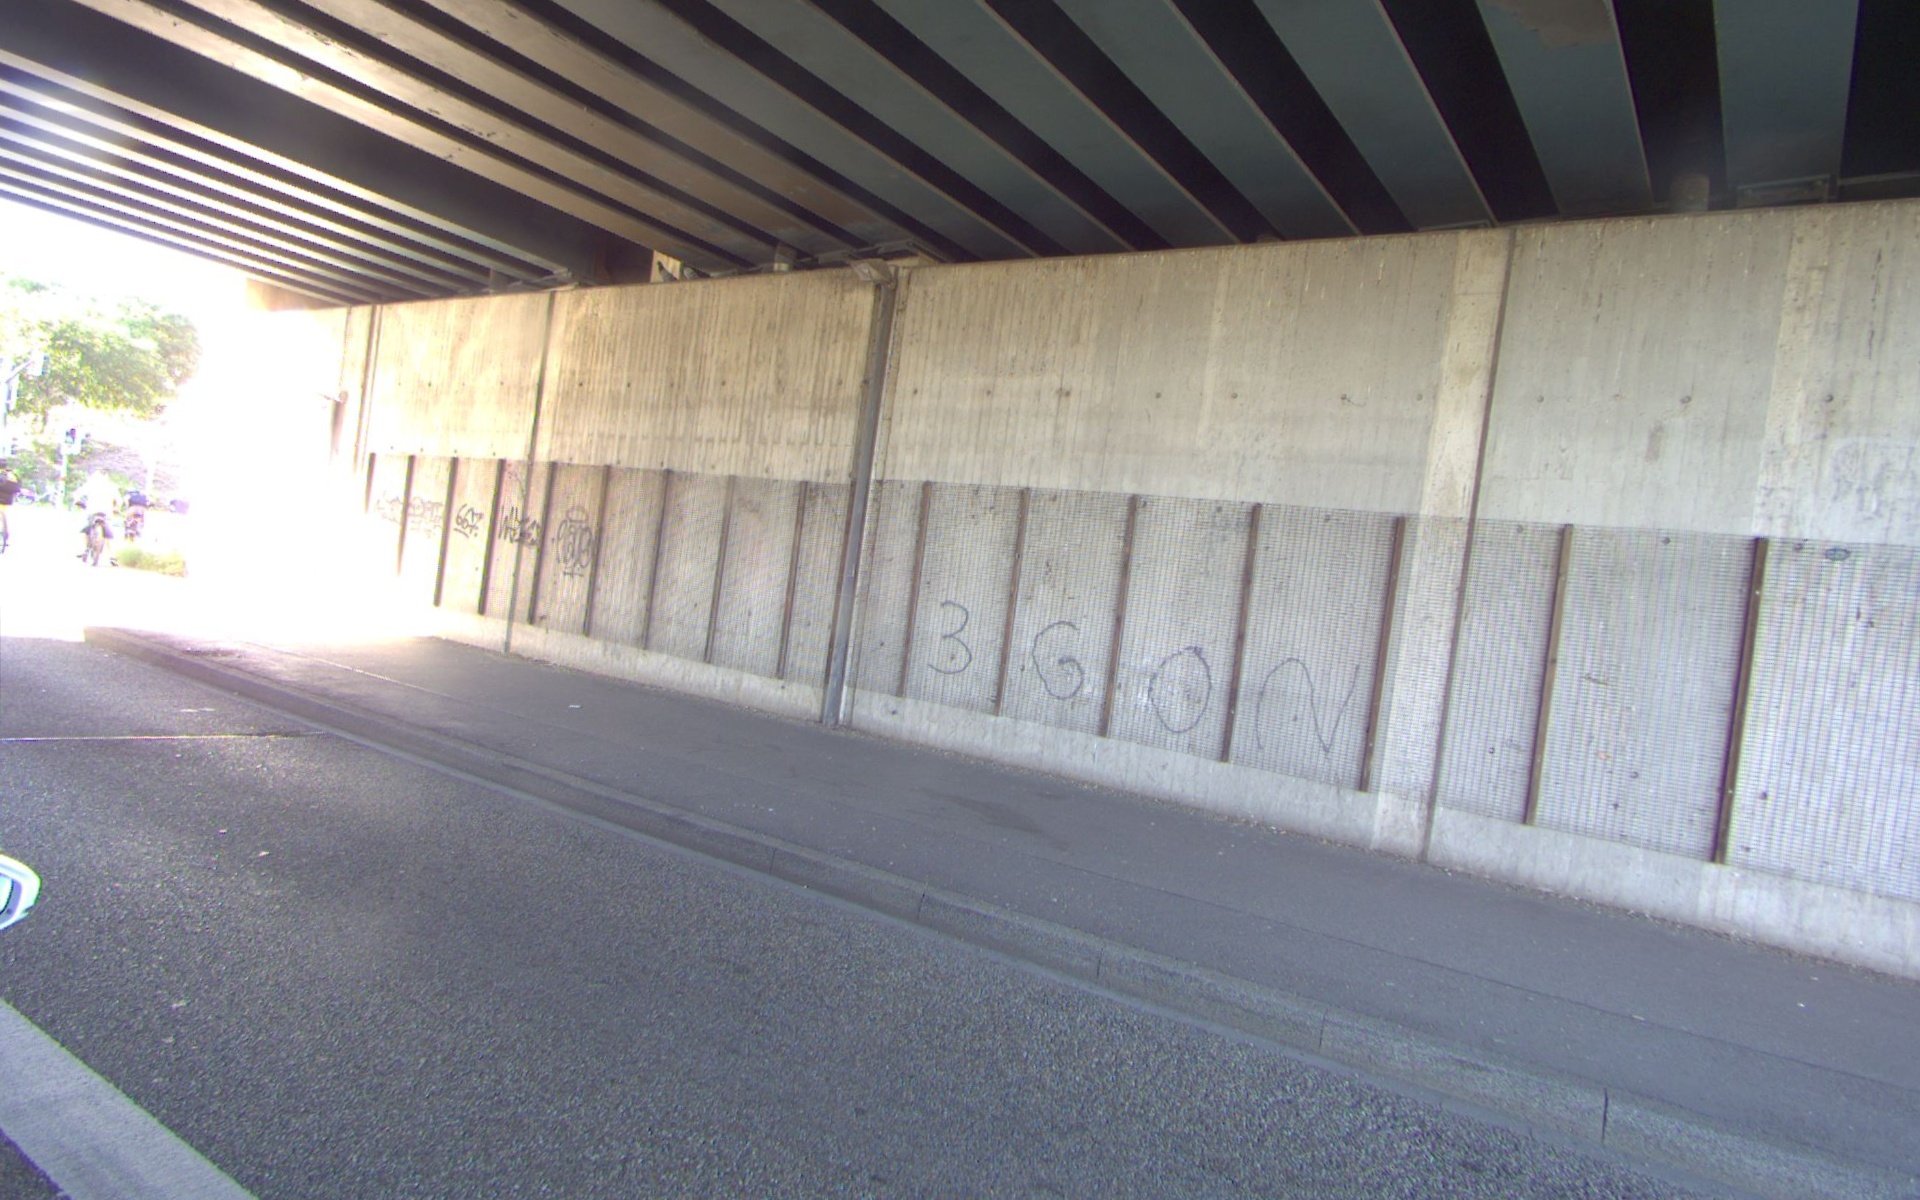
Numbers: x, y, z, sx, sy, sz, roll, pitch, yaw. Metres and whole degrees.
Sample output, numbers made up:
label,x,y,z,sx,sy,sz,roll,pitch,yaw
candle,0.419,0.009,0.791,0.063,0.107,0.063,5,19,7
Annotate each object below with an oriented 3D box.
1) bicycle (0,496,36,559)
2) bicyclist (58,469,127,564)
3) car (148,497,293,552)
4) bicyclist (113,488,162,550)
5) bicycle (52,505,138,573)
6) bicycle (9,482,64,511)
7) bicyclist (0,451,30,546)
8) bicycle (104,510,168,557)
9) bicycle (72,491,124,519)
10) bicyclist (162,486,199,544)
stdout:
label,x,y,z,sx,sy,sz,roll,pitch,yaw
bicycle,-17.349,-1.343,18.061,1.721,1.035,0.593,6,-1,32
bicyclist,-15.560,-1.497,18.053,0.756,1.566,0.593,6,-1,32
car,-31.234,-3.168,42.601,1.801,1.531,4.548,6,-3,39
bicyclist,-21.378,-2.111,26.155,0.739,1.491,0.666,6,-1,34
bicycle,-15.498,-1.099,18.014,1.721,1.035,0.593,6,-1,32
bicycle,-42.951,-4.797,46.807,0.585,1.035,1.744,6,-2,40
bicyclist,-17.413,-1.860,18.127,0.927,1.632,0.593,6,-1,32
bicycle,-21.437,-1.739,26.164,2.023,1.035,0.672,6,-2,35
bicycle,-40.995,-4.522,47.857,0.586,1.035,1.743,6,-2,43
bicyclist,-21.830,-2.389,28.170,0.647,1.499,0.611,8,0,-40
